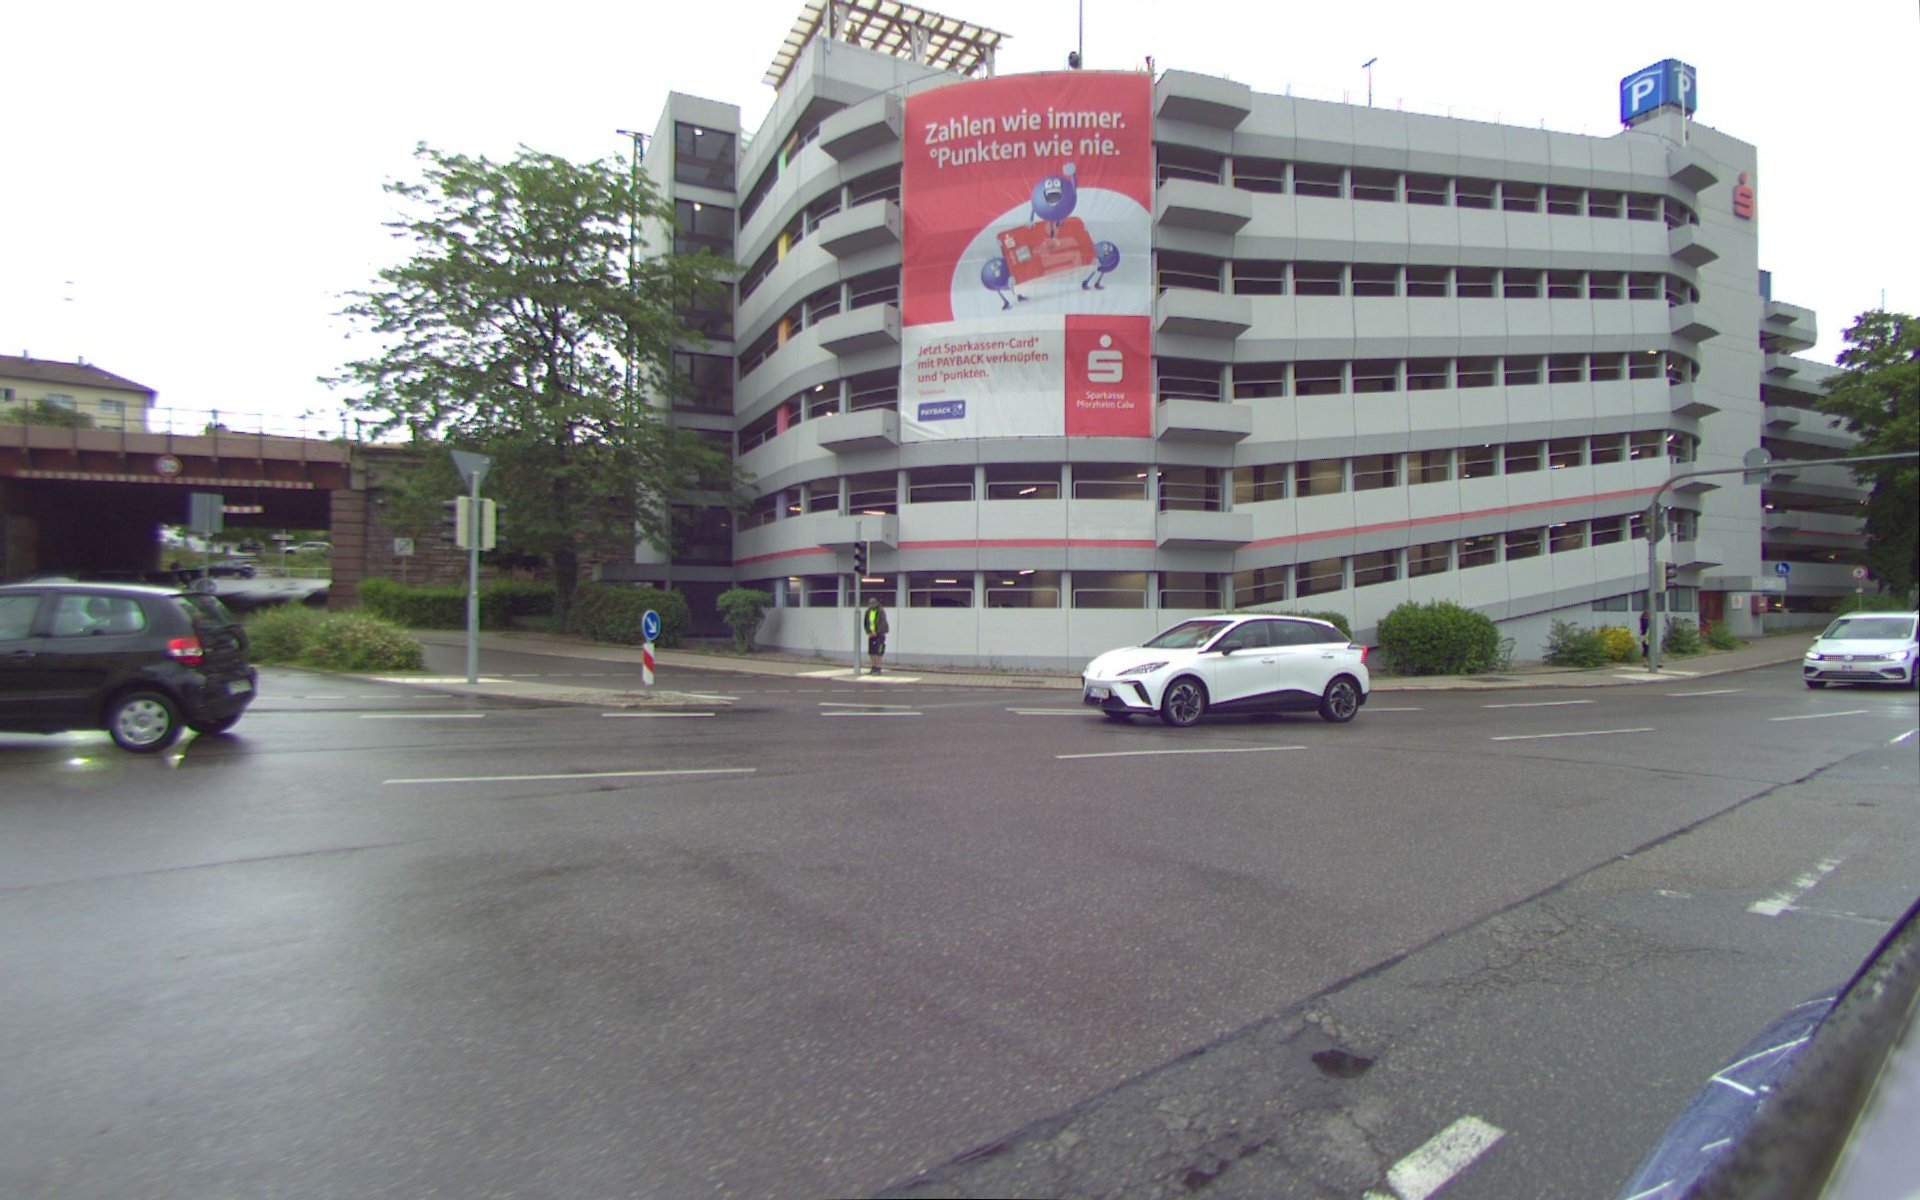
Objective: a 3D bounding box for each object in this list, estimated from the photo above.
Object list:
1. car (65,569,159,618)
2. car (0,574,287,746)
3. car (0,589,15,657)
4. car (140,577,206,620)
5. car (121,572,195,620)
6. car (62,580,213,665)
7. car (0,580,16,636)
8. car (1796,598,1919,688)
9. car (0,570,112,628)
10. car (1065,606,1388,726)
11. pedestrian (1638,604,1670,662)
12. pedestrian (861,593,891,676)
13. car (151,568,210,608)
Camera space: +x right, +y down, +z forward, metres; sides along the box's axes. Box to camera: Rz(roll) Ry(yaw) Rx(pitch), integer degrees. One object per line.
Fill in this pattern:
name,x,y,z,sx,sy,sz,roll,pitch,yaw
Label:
car,-34.796,-0.231,41.642,1.959,1.806,4.005,-1,-2,-25
car,-8.851,0.564,9.661,3.666,1.512,1.681,0,-3,-16
car,-21.904,0.524,21.631,1.963,1.462,4.483,1,1,-36
car,-40.358,-0.068,51.985,1.959,2.040,4.004,-1,-2,-28
car,-37.126,-0.152,46.925,1.959,2.040,4.004,-1,-2,-28
car,-16.290,0.366,19.958,1.967,1.462,4.474,0,1,-44
car,-28.159,0.201,27.902,1.959,1.605,4.005,-1,-2,-25
car,19.980,0.870,21.652,4.313,1.748,2.001,1,-1,-32
car,-30.920,-0.003,34.587,1.959,1.806,4.169,-1,-2,-25
car,3.751,0.874,14.304,4.121,1.497,1.809,0,-3,-22
pedestrian,20.622,0.981,30.089,0.508,1.680,0.586,-1,2,-23
pedestrian,-1.973,0.801,23.740,0.536,1.914,0.506,2,1,9
car,-43.843,-0.657,57.008,1.959,2.040,4.004,-1,-2,-28
